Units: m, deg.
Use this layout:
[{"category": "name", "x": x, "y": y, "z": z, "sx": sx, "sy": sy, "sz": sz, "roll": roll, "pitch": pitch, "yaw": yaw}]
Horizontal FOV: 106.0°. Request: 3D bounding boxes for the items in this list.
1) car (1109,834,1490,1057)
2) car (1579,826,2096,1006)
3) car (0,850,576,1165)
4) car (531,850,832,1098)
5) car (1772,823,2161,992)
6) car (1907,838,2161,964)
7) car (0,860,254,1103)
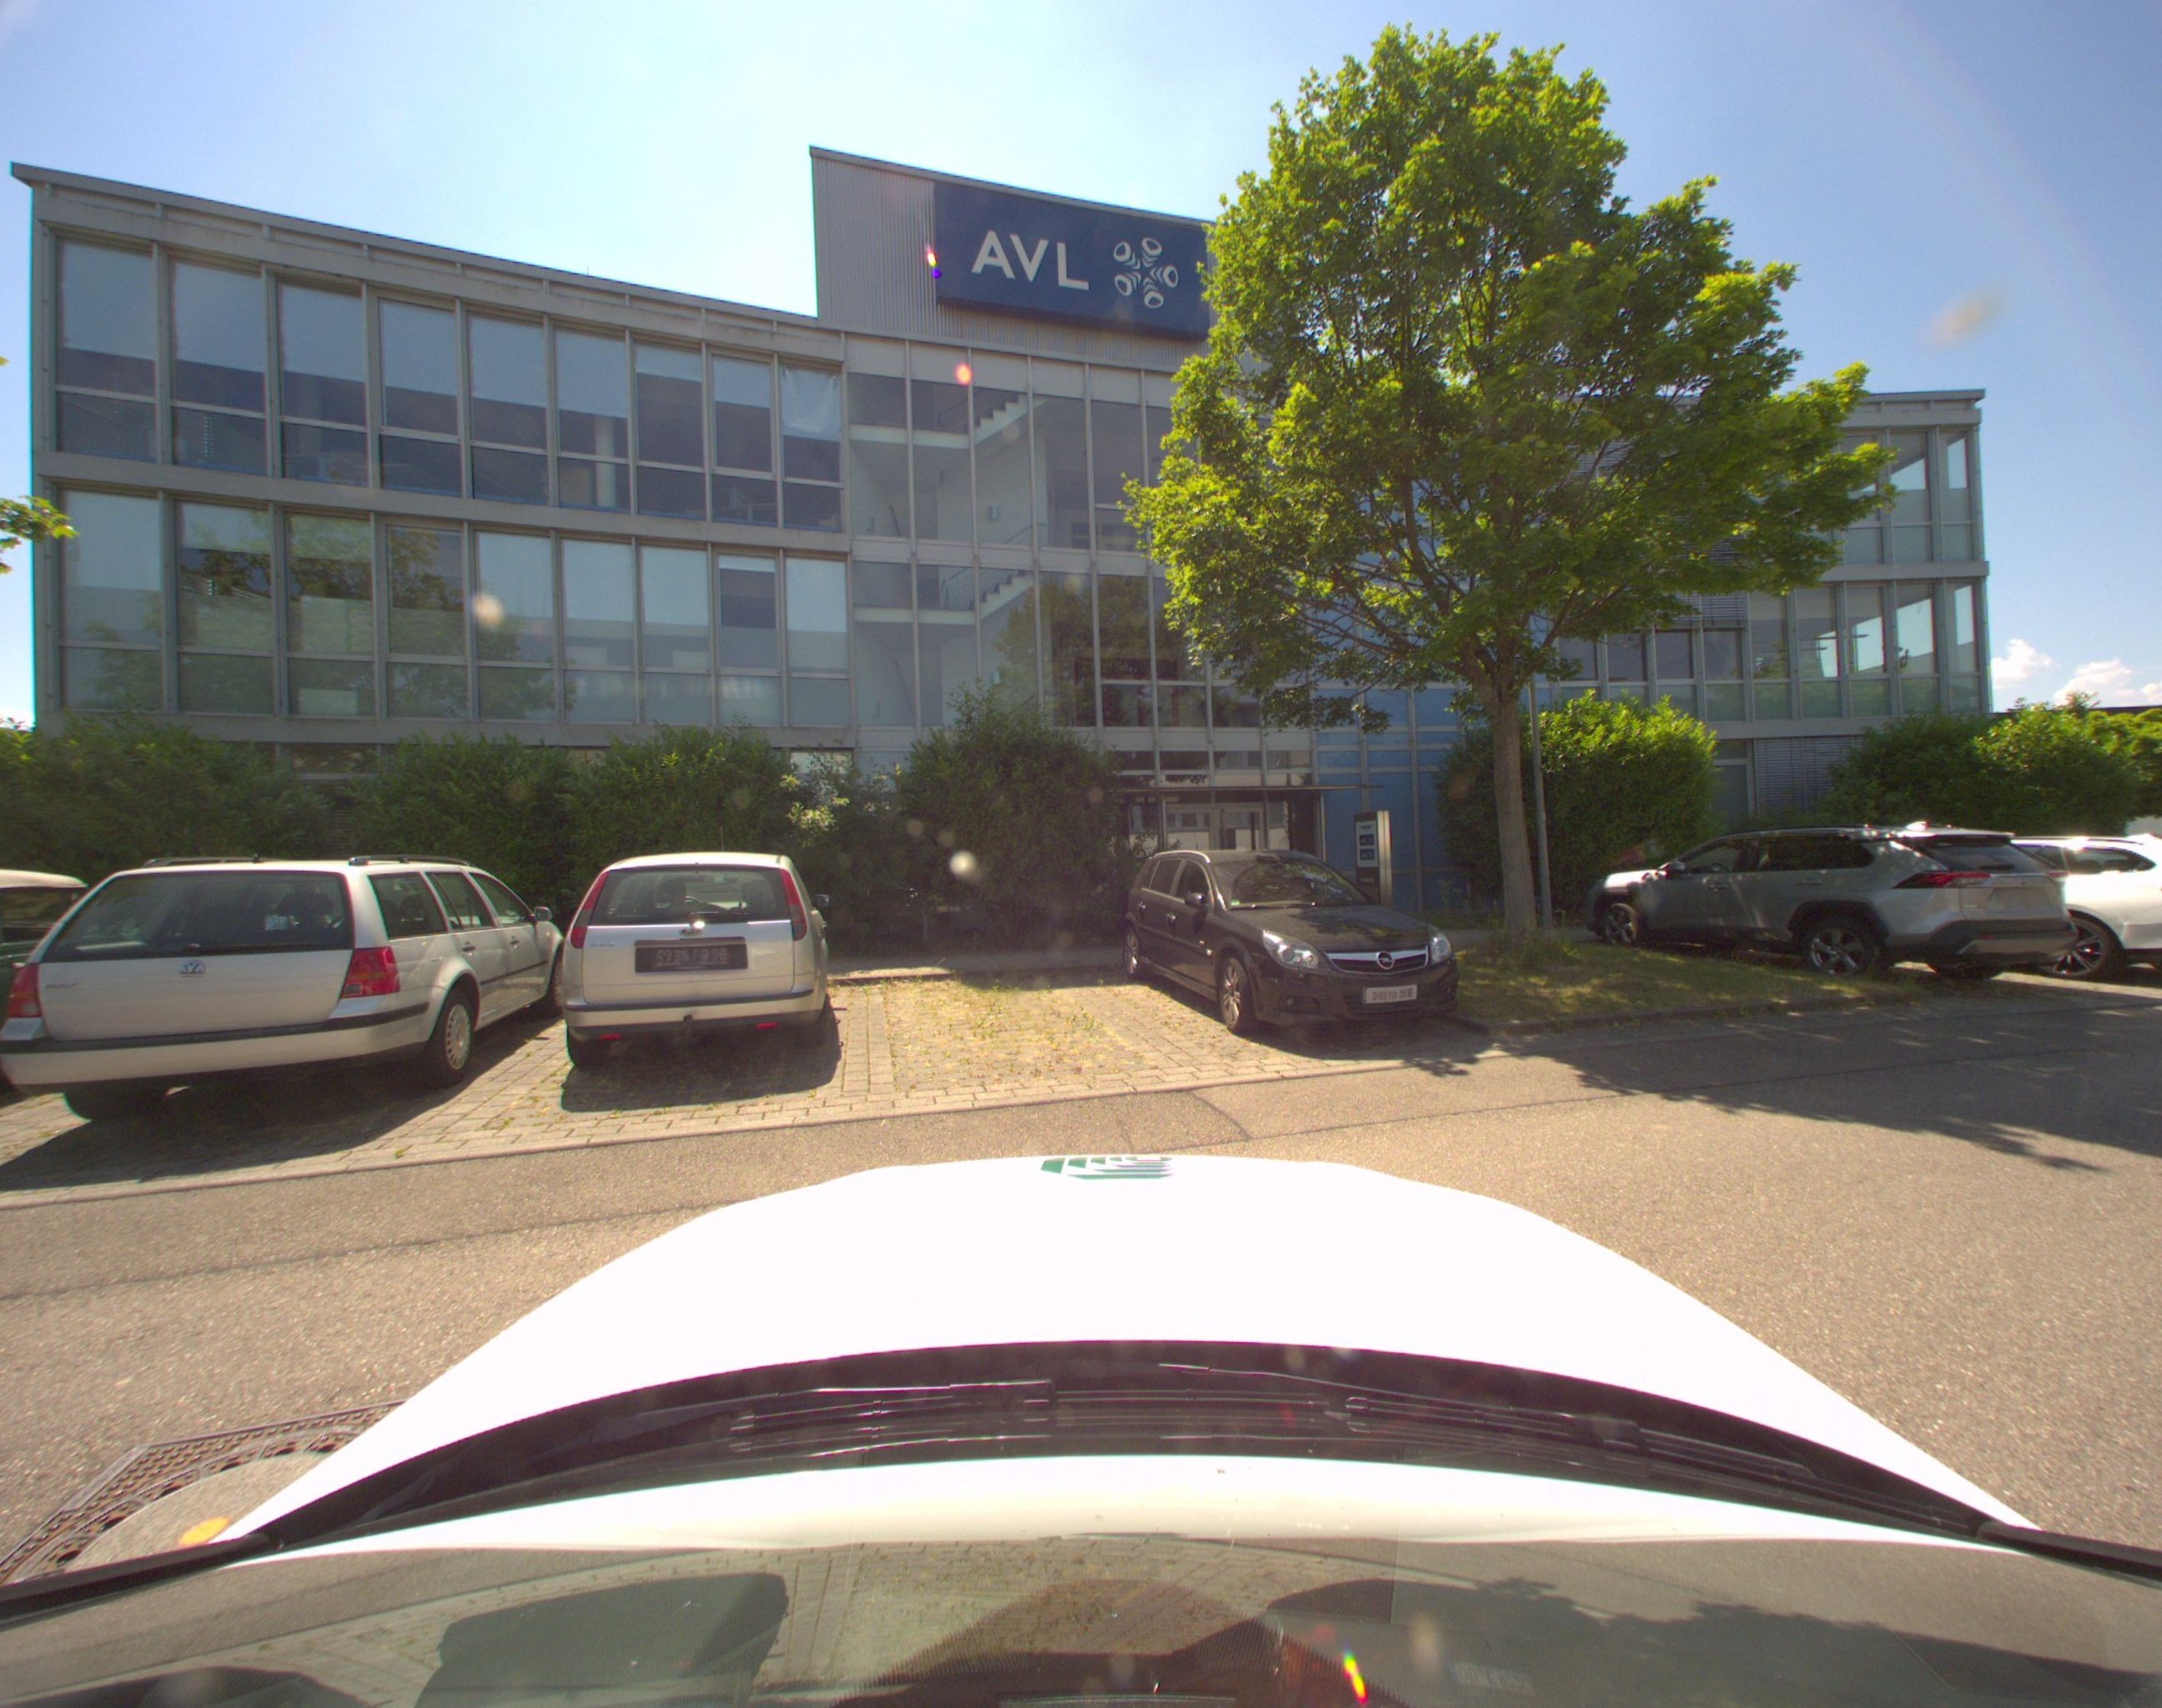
[{"category": "car", "x": 1.701, "y": 0.650, "z": 8.098, "sx": 1.760, "sy": 1.549, "sz": 4.545, "roll": 0, "pitch": 0, "yaw": -13}, {"category": "car", "x": 8.441, "y": 0.535, "z": 9.752, "sx": 1.852, "sy": 1.643, "sz": 4.317, "roll": 0, "pitch": 1, "yaw": -11}, {"category": "car", "x": -5.086, "y": 0.742, "z": 5.926, "sx": 1.653, "sy": 1.479, "sz": 3.865, "roll": 0, "pitch": -1, "yaw": -20}, {"category": "car", "x": -3.129, "y": 0.738, "z": 7.231, "sx": 1.724, "sy": 1.479, "sz": 4.322, "roll": 0, "pitch": 0, "yaw": -17}, {"category": "car", "x": 11.011, "y": 0.496, "z": 9.672, "sx": 1.656, "sy": 1.643, "sz": 4.188, "roll": 0, "pitch": 1, "yaw": -11}, {"category": "car", "x": 13.489, "y": 0.541, "z": 10.239, "sx": 1.656, "sy": 1.486, "sz": 4.163, "roll": 0, "pitch": 1, "yaw": -11}, {"category": "car", "x": -7.386, "y": 0.768, "z": 5.056, "sx": 1.653, "sy": 1.448, "sz": 3.865, "roll": 0, "pitch": 0, "yaw": -20}]
